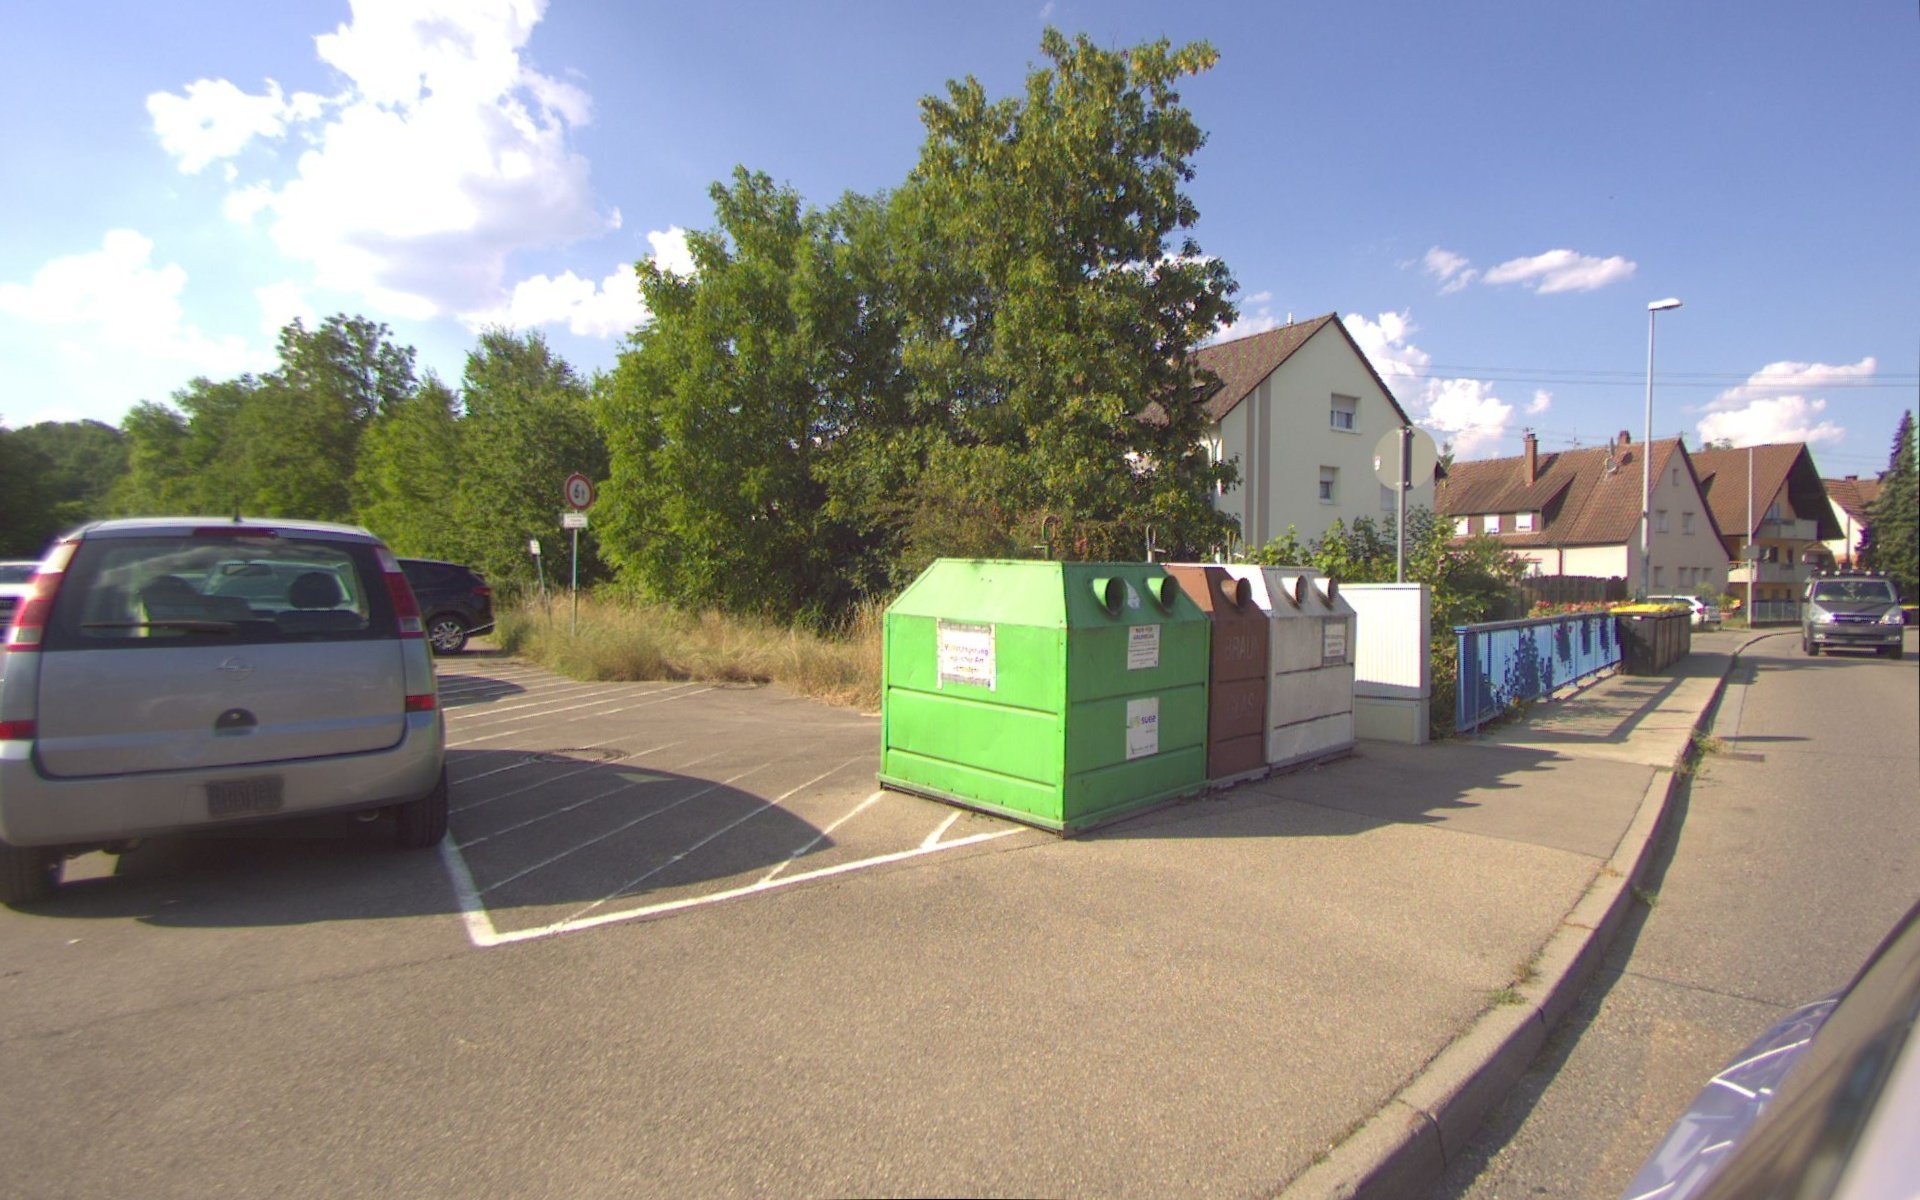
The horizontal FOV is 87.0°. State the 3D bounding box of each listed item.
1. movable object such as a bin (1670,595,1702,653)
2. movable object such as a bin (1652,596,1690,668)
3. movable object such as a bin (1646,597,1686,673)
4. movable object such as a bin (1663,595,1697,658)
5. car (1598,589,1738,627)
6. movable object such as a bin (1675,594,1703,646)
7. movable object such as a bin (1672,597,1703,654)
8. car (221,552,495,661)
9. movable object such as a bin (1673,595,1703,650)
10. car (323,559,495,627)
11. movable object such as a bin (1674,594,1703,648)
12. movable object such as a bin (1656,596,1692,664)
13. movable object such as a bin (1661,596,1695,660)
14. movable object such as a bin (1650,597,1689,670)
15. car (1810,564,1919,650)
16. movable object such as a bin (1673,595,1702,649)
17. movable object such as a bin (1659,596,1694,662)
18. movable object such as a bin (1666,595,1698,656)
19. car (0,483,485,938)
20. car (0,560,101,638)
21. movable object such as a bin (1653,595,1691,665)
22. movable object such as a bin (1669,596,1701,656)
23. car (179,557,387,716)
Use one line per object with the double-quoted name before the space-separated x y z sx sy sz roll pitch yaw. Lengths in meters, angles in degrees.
"movable object such as a bin" 14.760 0.480 20.575 0.478 1.157 0.531 1 1 39
"movable object such as a bin" 11.838 0.520 16.850 0.478 1.157 0.531 1 1 39
"movable object such as a bin" 11.143 0.535 15.972 0.478 1.157 0.531 1 1 39
"movable object such as a bin" 13.684 0.496 19.223 0.478 1.157 0.557 1 1 39
"car" 29.354 0.285 42.101 1.696 1.476 4.483 0 1 -31
"movable object such as a bin" 16.513 0.451 22.927 0.478 1.157 0.531 1 1 39
"movable object such as a bin" 15.130 0.526 21.041 0.478 1.157 0.531 1 1 39
"car" -10.281 0.063 17.399 3.880 1.673 1.681 -1 1 -38
"movable object such as a bin" 15.502 0.468 21.560 0.478 1.157 0.531 1 1 39
"car" -13.131 -0.185 24.171 3.505 1.519 1.684 0 1 -32
"movable object such as a bin" 16.185 0.456 22.491 0.478 1.157 0.531 1 1 39
"movable object such as a bin" 12.558 0.513 17.799 0.478 1.157 0.531 1 1 39
"movable object such as a bin" 13.292 0.501 18.738 0.478 1.157 0.531 1 1 39
"movable object such as a bin" 11.497 0.530 16.402 0.478 1.157 0.531 1 1 39
"car" 23.395 0.170 26.250 1.811 2.025 4.755 1 0 37
"movable object such as a bin" 15.849 0.471 22.055 0.478 1.157 0.535 1 1 39
"movable object such as a bin" 12.939 0.507 18.278 0.478 1.157 0.531 1 1 39
"movable object such as a bin" 14.036 0.490 19.671 0.478 1.157 0.531 1 1 39
"car" -3.943 0.330 5.671 1.651 1.623 3.952 -1 2 -35
"car" -19.846 -0.064 21.555 1.701 1.530 4.193 -1 1 -31
"movable object such as a bin" 12.189 0.505 17.327 0.478 1.157 0.531 1 1 39
"movable object such as a bin" 14.409 0.511 20.118 0.478 1.157 0.531 1 1 39
"car" -7.654 0.267 11.435 1.651 1.466 3.952 -1 2 -35
